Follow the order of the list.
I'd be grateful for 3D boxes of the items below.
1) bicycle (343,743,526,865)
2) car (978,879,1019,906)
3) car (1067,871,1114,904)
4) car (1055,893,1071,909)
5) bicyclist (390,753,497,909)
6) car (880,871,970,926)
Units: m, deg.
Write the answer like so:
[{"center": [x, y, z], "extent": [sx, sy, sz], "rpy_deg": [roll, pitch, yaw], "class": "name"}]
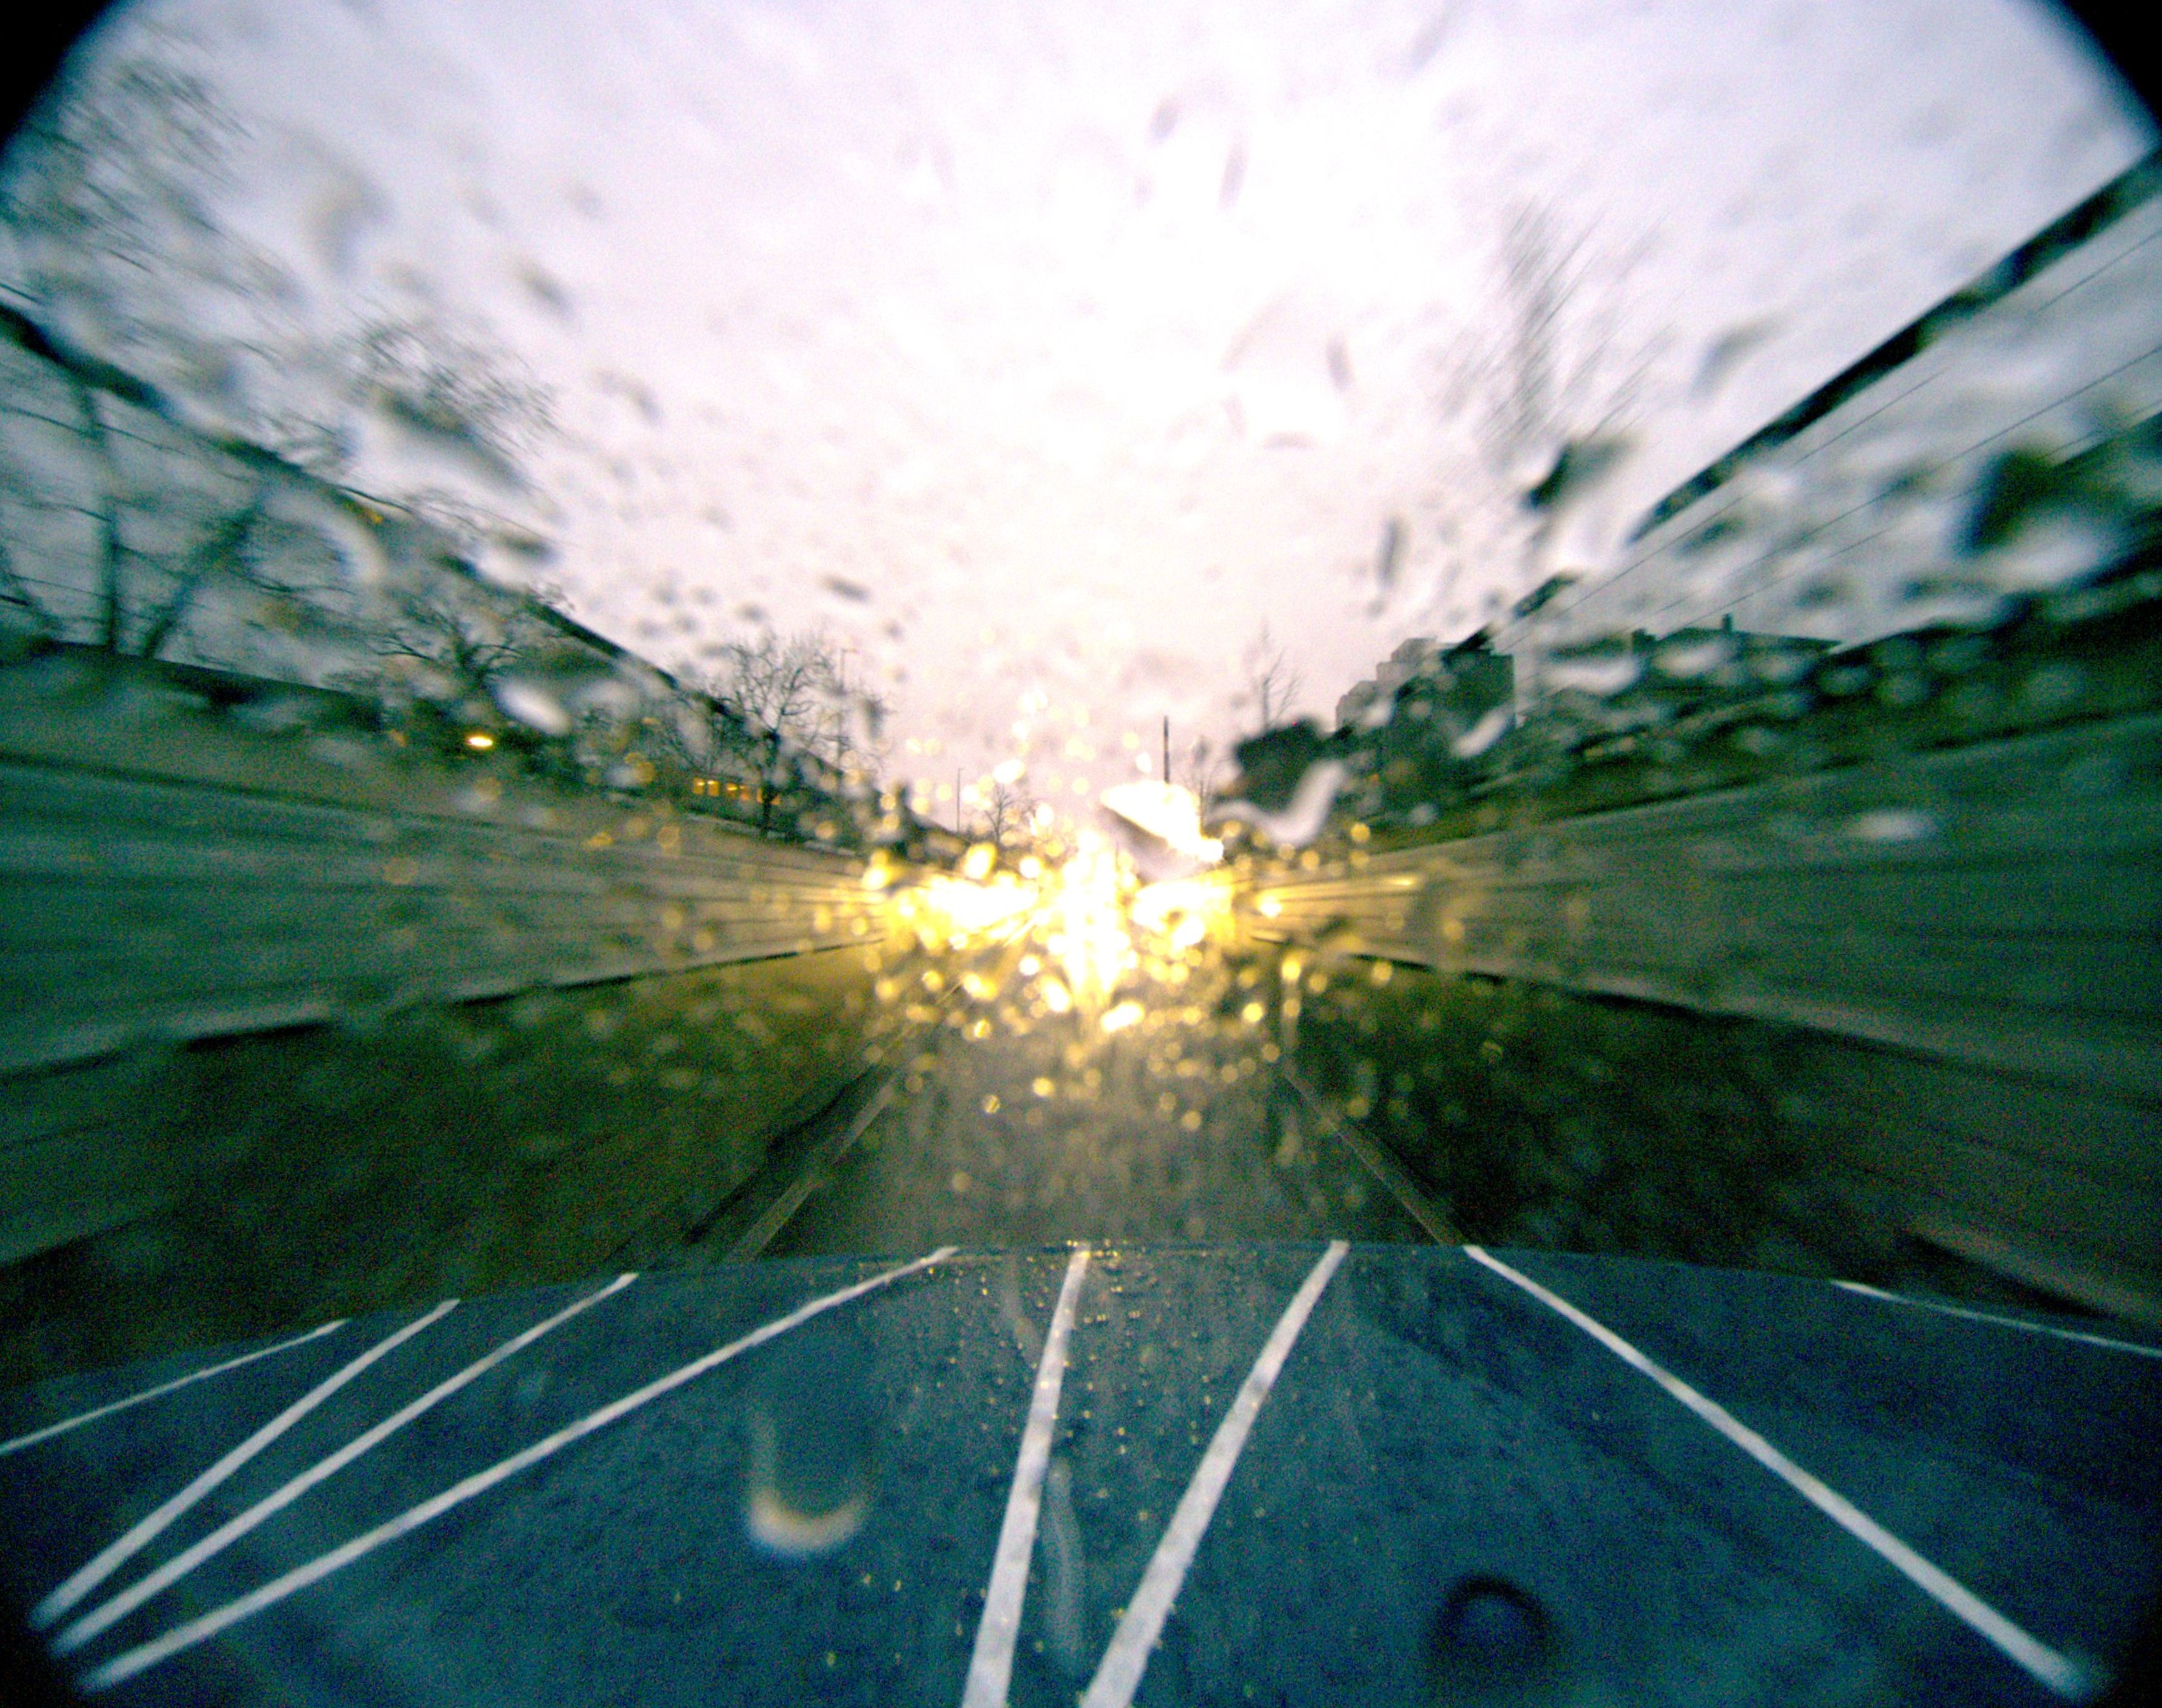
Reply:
[{"center": [-7.534, -0.518, 9.007], "extent": [0.412, 1.177, 2.030], "rpy_deg": [-1, -4, 0], "class": "bicycle"}, {"center": [-4.717, 2.226, 44.061], "extent": [1.791, 1.492, 4.970], "rpy_deg": [-1, -3, 1], "class": "car"}, {"center": [0.529, 1.662, 37.683], "extent": [2.160, 1.488, 4.010], "rpy_deg": [-1, -3, 2], "class": "car"}, {"center": [-2.059, 5.433, 87.947], "extent": [1.678, 1.738, 3.868], "rpy_deg": [-1, -3, 2], "class": "car"}, {"center": [-7.515, -0.238, 9.001], "extent": [0.501, 1.755, 0.837], "rpy_deg": [-1, -3, 0], "class": "bicyclist"}, {"center": [-4.728, 1.364, 23.534], "extent": [1.726, 1.470, 4.003], "rpy_deg": [-3, -3, 3], "class": "car"}]
